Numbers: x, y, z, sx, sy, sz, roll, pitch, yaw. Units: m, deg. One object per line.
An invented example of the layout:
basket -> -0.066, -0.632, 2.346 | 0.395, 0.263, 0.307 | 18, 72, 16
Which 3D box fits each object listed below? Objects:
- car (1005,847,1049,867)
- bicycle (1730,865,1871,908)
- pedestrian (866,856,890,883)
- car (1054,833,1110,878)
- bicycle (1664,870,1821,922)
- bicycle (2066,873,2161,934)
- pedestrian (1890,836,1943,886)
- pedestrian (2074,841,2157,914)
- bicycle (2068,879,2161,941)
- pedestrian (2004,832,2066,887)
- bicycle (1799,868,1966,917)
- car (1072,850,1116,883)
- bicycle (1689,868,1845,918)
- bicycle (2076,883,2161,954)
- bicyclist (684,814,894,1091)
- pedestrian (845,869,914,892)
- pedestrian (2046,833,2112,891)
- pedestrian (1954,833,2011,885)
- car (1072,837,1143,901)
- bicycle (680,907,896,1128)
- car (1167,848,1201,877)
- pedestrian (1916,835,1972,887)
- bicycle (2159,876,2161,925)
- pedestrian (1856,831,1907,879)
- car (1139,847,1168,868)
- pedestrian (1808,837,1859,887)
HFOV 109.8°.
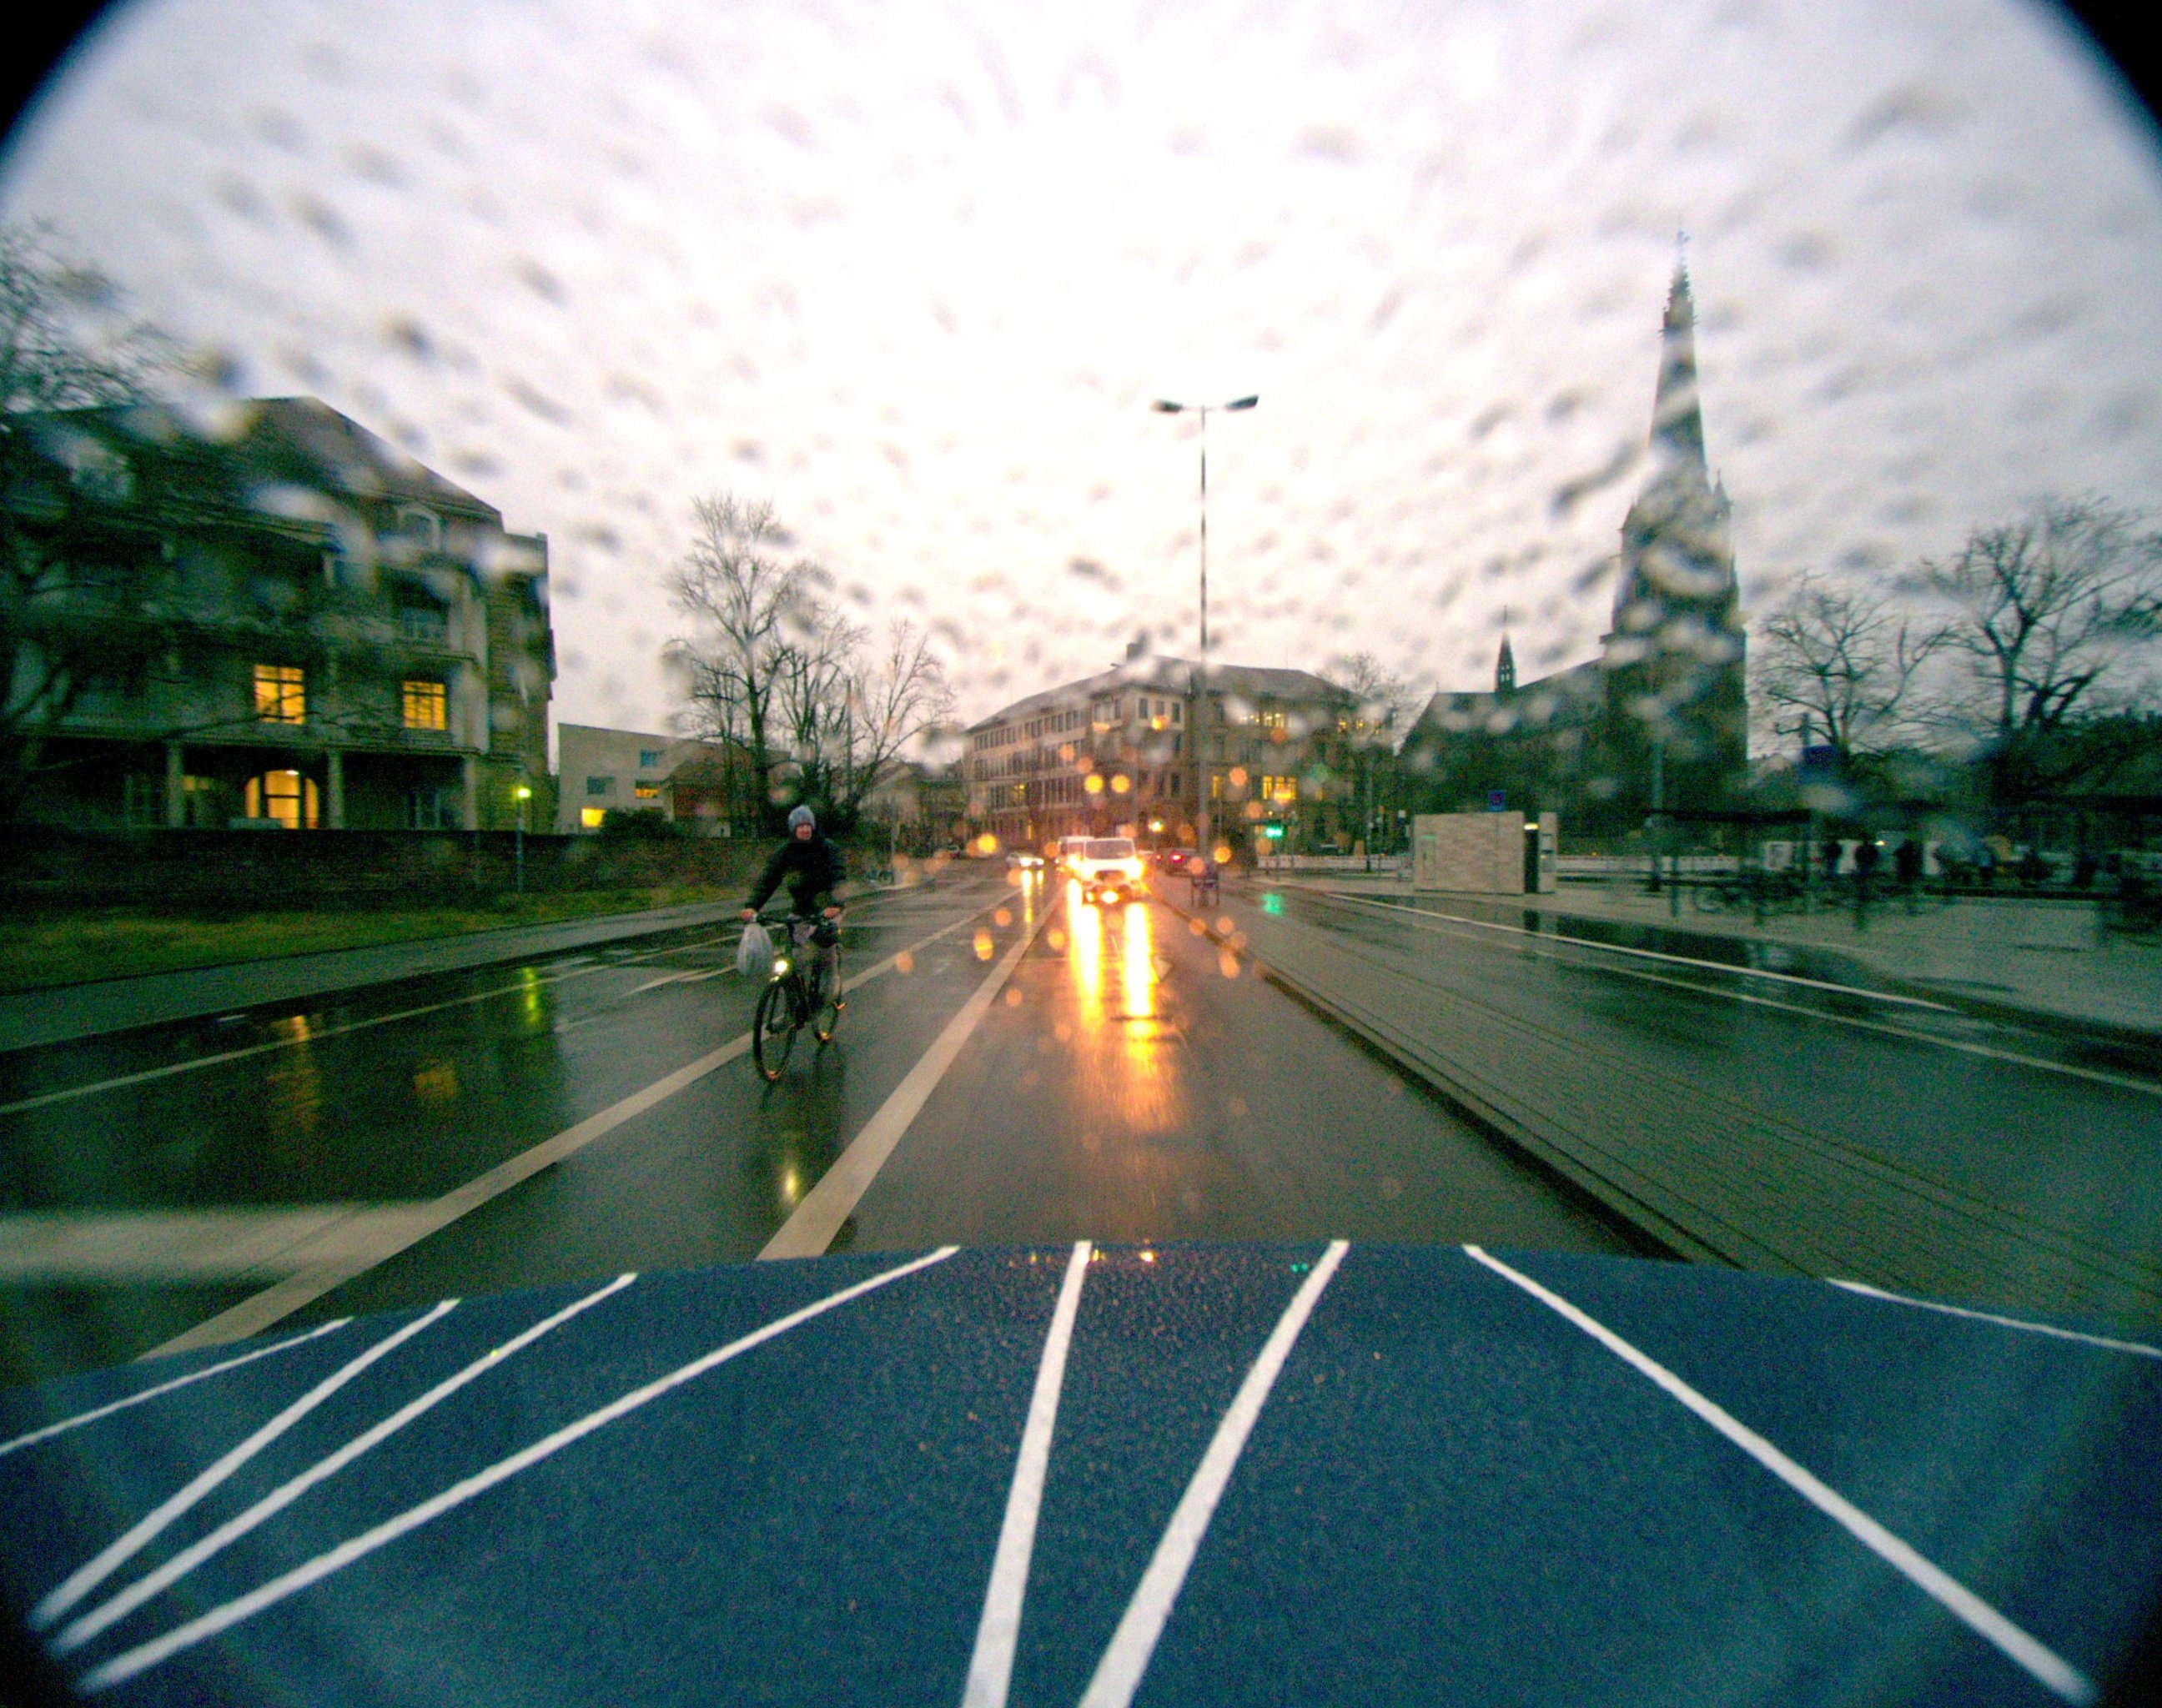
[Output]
car -> -4.444, 0.273, 61.898 | 1.792, 1.536, 4.108 | -2, 0, -34
bicycle -> 19.753, 0.857, 20.959 | 0.648, 1.098, 2.744 | -3, 1, -33
pedestrian -> -10.069, 0.746, 37.676 | 0.984, 1.309, 0.813 | 0, 1, -29
car -> -0.033, 0.042, 47.056 | 2.348, 2.503, 5.862 | -2, 1, -10
bicycle -> 15.647, 0.959, 18.101 | 0.648, 1.098, 2.744 | -3, 1, -31
bicycle -> 20.828, 0.955, 14.310 | 0.648, 1.098, 2.743 | -3, 2, -40
pedestrian -> 31.388, 0.242, 28.562 | 1.034, 1.839, 0.848 | 1, 1, 1
pedestrian -> 24.994, 0.550, 18.376 | 0.815, 1.672, 0.848 | -4, 3, 1
bicycle -> 20.225, 1.022, 13.813 | 0.648, 1.098, 2.743 | -3, 1, -40
pedestrian -> 32.960, 0.178, 26.257 | 1.034, 1.839, 0.848 | -2, 1, 1
bicycle -> 19.700, 0.911, 18.783 | 0.648, 1.098, 2.744 | -3, 1, -31
car -> 0.599, 0.569, 38.433 | 1.755, 1.495, 4.315 | -2, 1, -5
bicycle -> 16.717, 0.908, 18.633 | 0.648, 1.098, 2.744 | -3, 1, -31
bicycle -> 18.181, 1.059, 12.109 | 0.648, 1.098, 2.744 | -3, 1, -30
bicyclist -> -2.117, 0.650, 5.740 | 1.026, 1.873, 1.235 | 0, 3, 2
pedestrian -> -9.980, 1.301, 37.701 | 3.104, 0.925, 0.946 | -3, 1, -29
pedestrian -> 32.987, 0.250, 25.125 | 1.034, 1.839, 0.848 | -2, 1, 1
pedestrian -> 32.649, 0.177, 27.525 | 1.034, 1.839, 0.848 | -2, 1, 1
car -> 0.857, 0.448, 26.226 | 2.136, 1.910, 5.016 | -2, 1, 1
bicycle -> -2.109, 1.119, 5.825 | 0.794, 1.216, 1.903 | 0, 3, 3
car -> 6.057, 0.465, 45.018 | 1.677, 1.586, 4.000 | -1, 1, 3
pedestrian -> 31.414, 0.250, 27.669 | 1.034, 1.839, 0.802 | 1, 1, 1
bicycle -> 24.712, 1.031, 15.449 | 0.796, 1.044, 3.186 | -1, 1, -35
pedestrian -> 31.043, 0.038, 29.464 | 1.034, 1.839, 0.848 | 1, 1, 1
car -> 5.632, 0.234, 59.442 | 1.678, 1.586, 3.998 | -1, 1, -4
pedestrian -> 29.597, 0.306, 29.904 | 1.049, 1.839, 0.848 | -4, 1, 1
